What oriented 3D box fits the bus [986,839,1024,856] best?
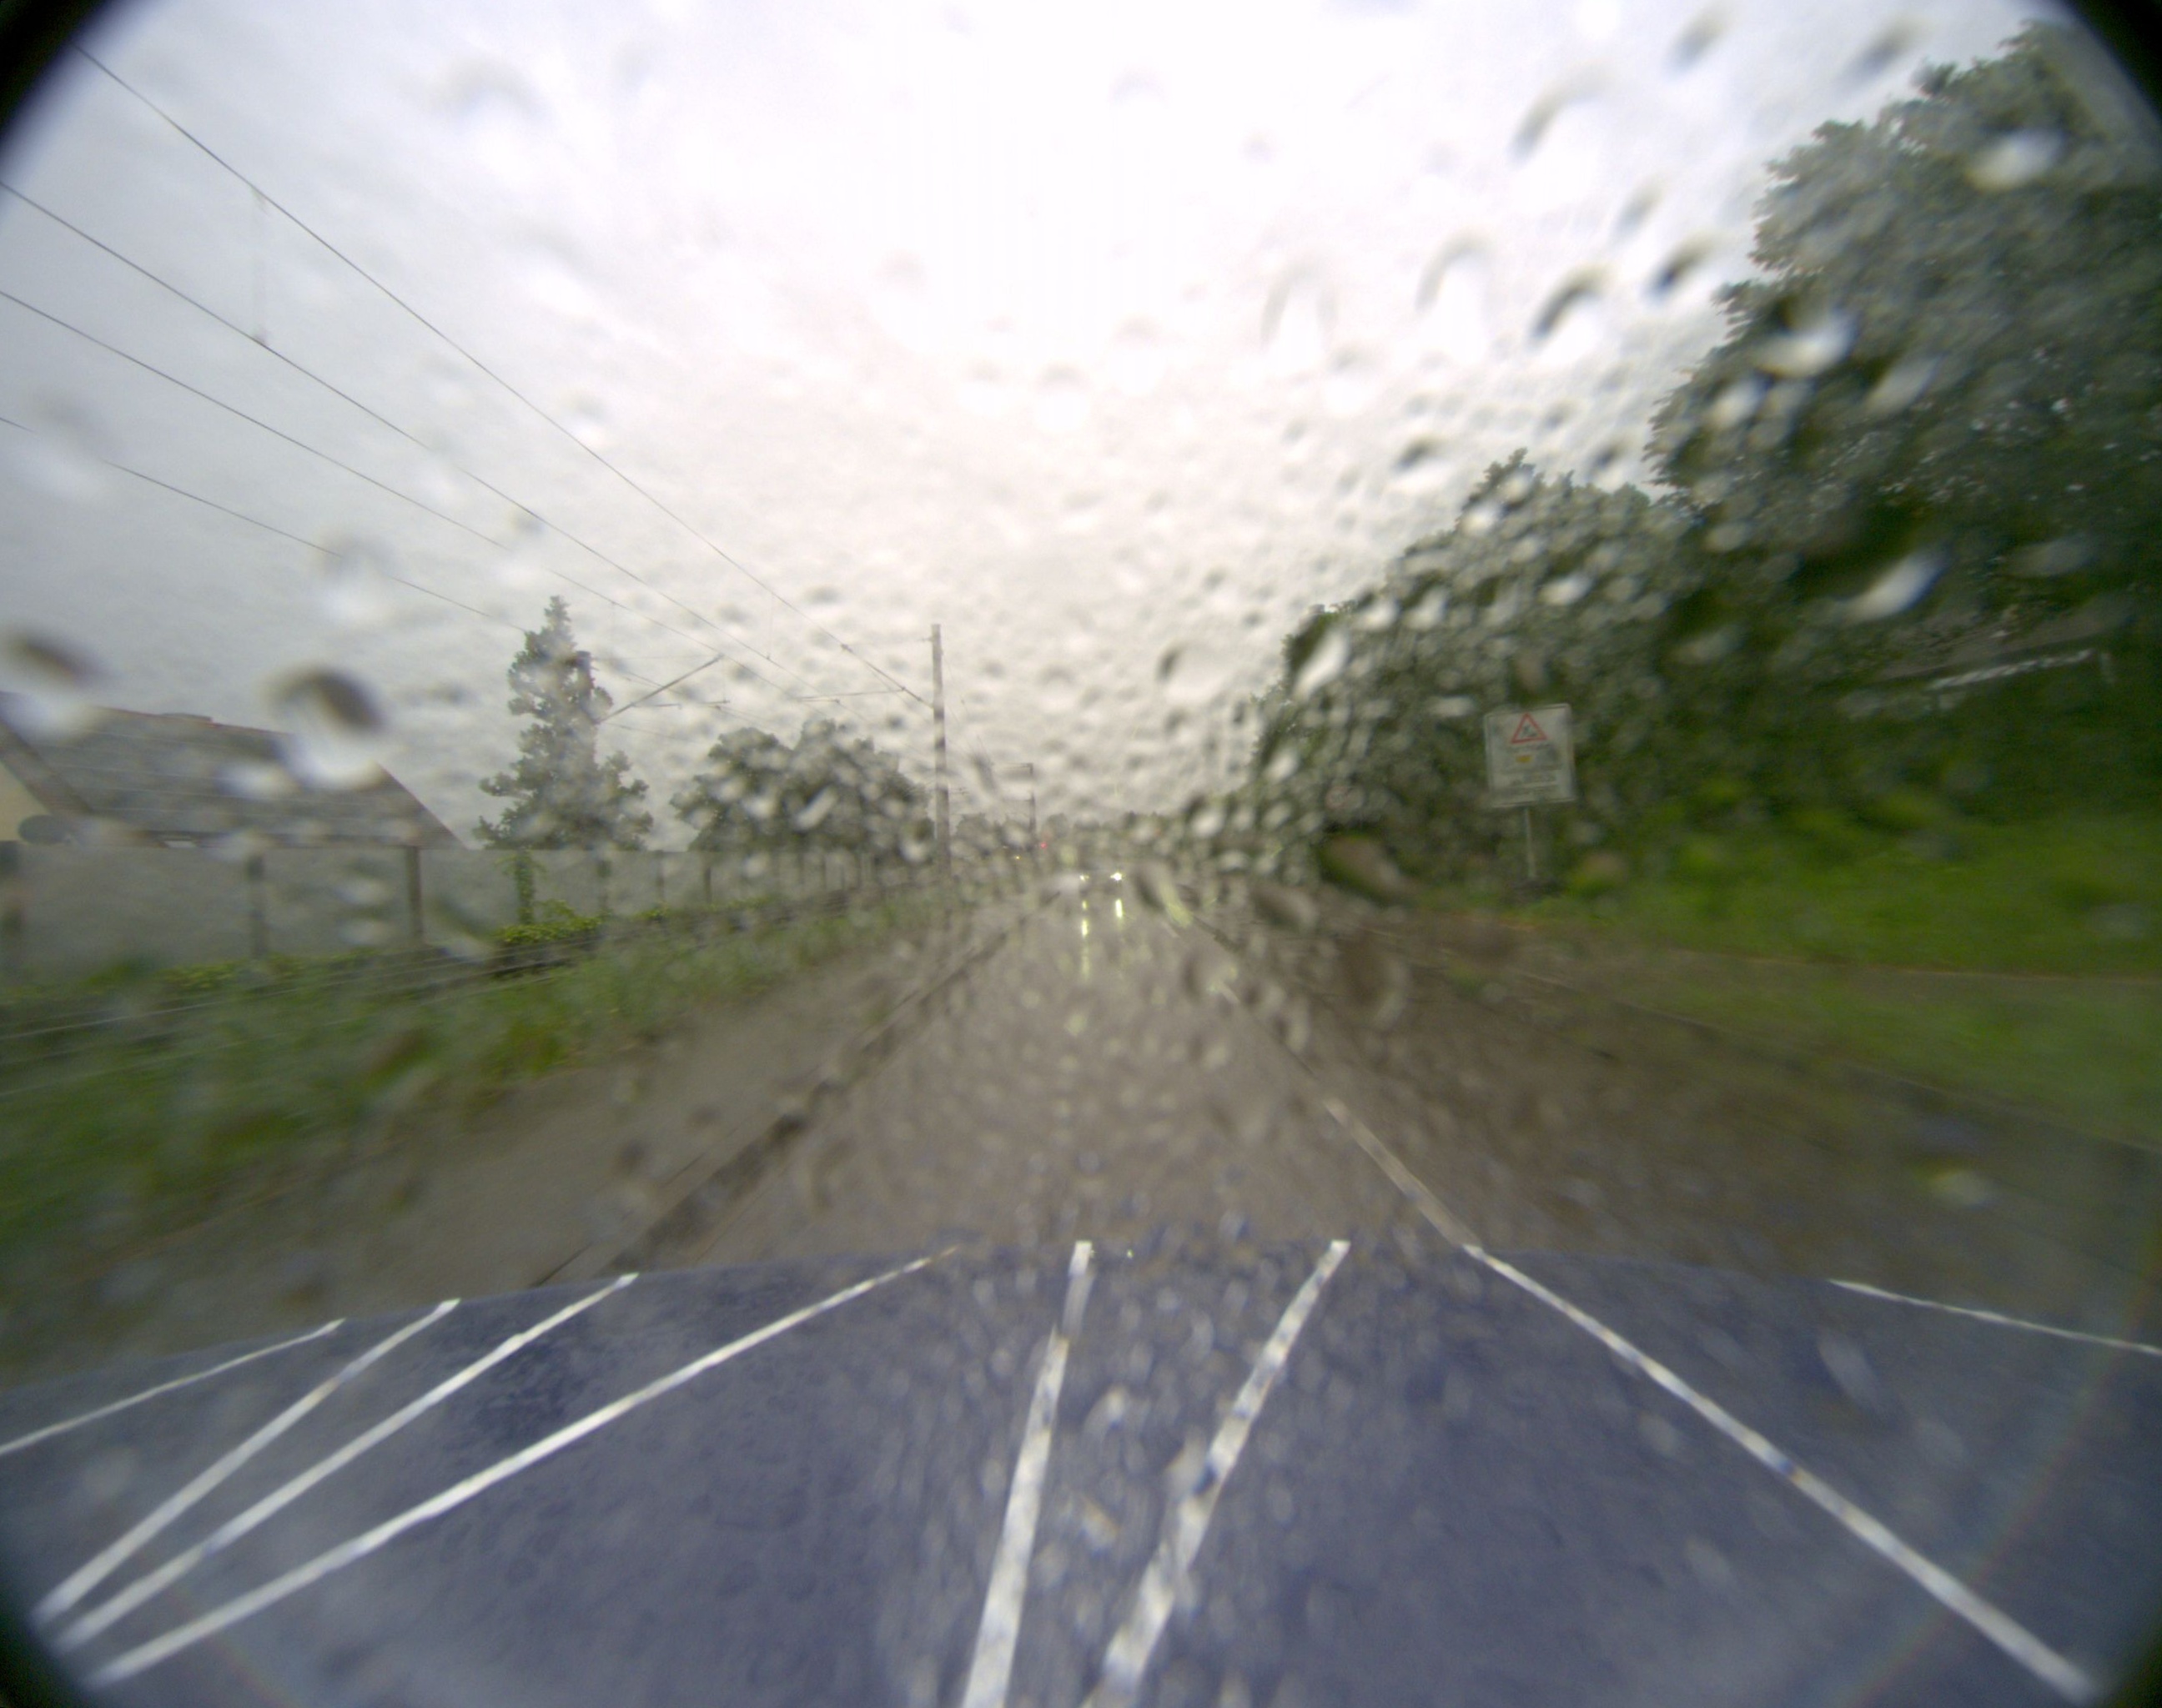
[{"bbox_3d":[-14.968,-1.245,148.925,2.682,3.060,9.969,-4,2,-34],"label":"bus"}]

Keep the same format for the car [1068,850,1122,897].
[{"bbox_3d":[0.582,0.735,31.027,1.998,1.623,3.999,-3,1,1],"label":"car"}]

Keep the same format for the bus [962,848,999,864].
[{"bbox_3d":[-20.829,0.457,156.981,2.683,3.060,9.968,-4,2,-39],"label":"bus"}]
